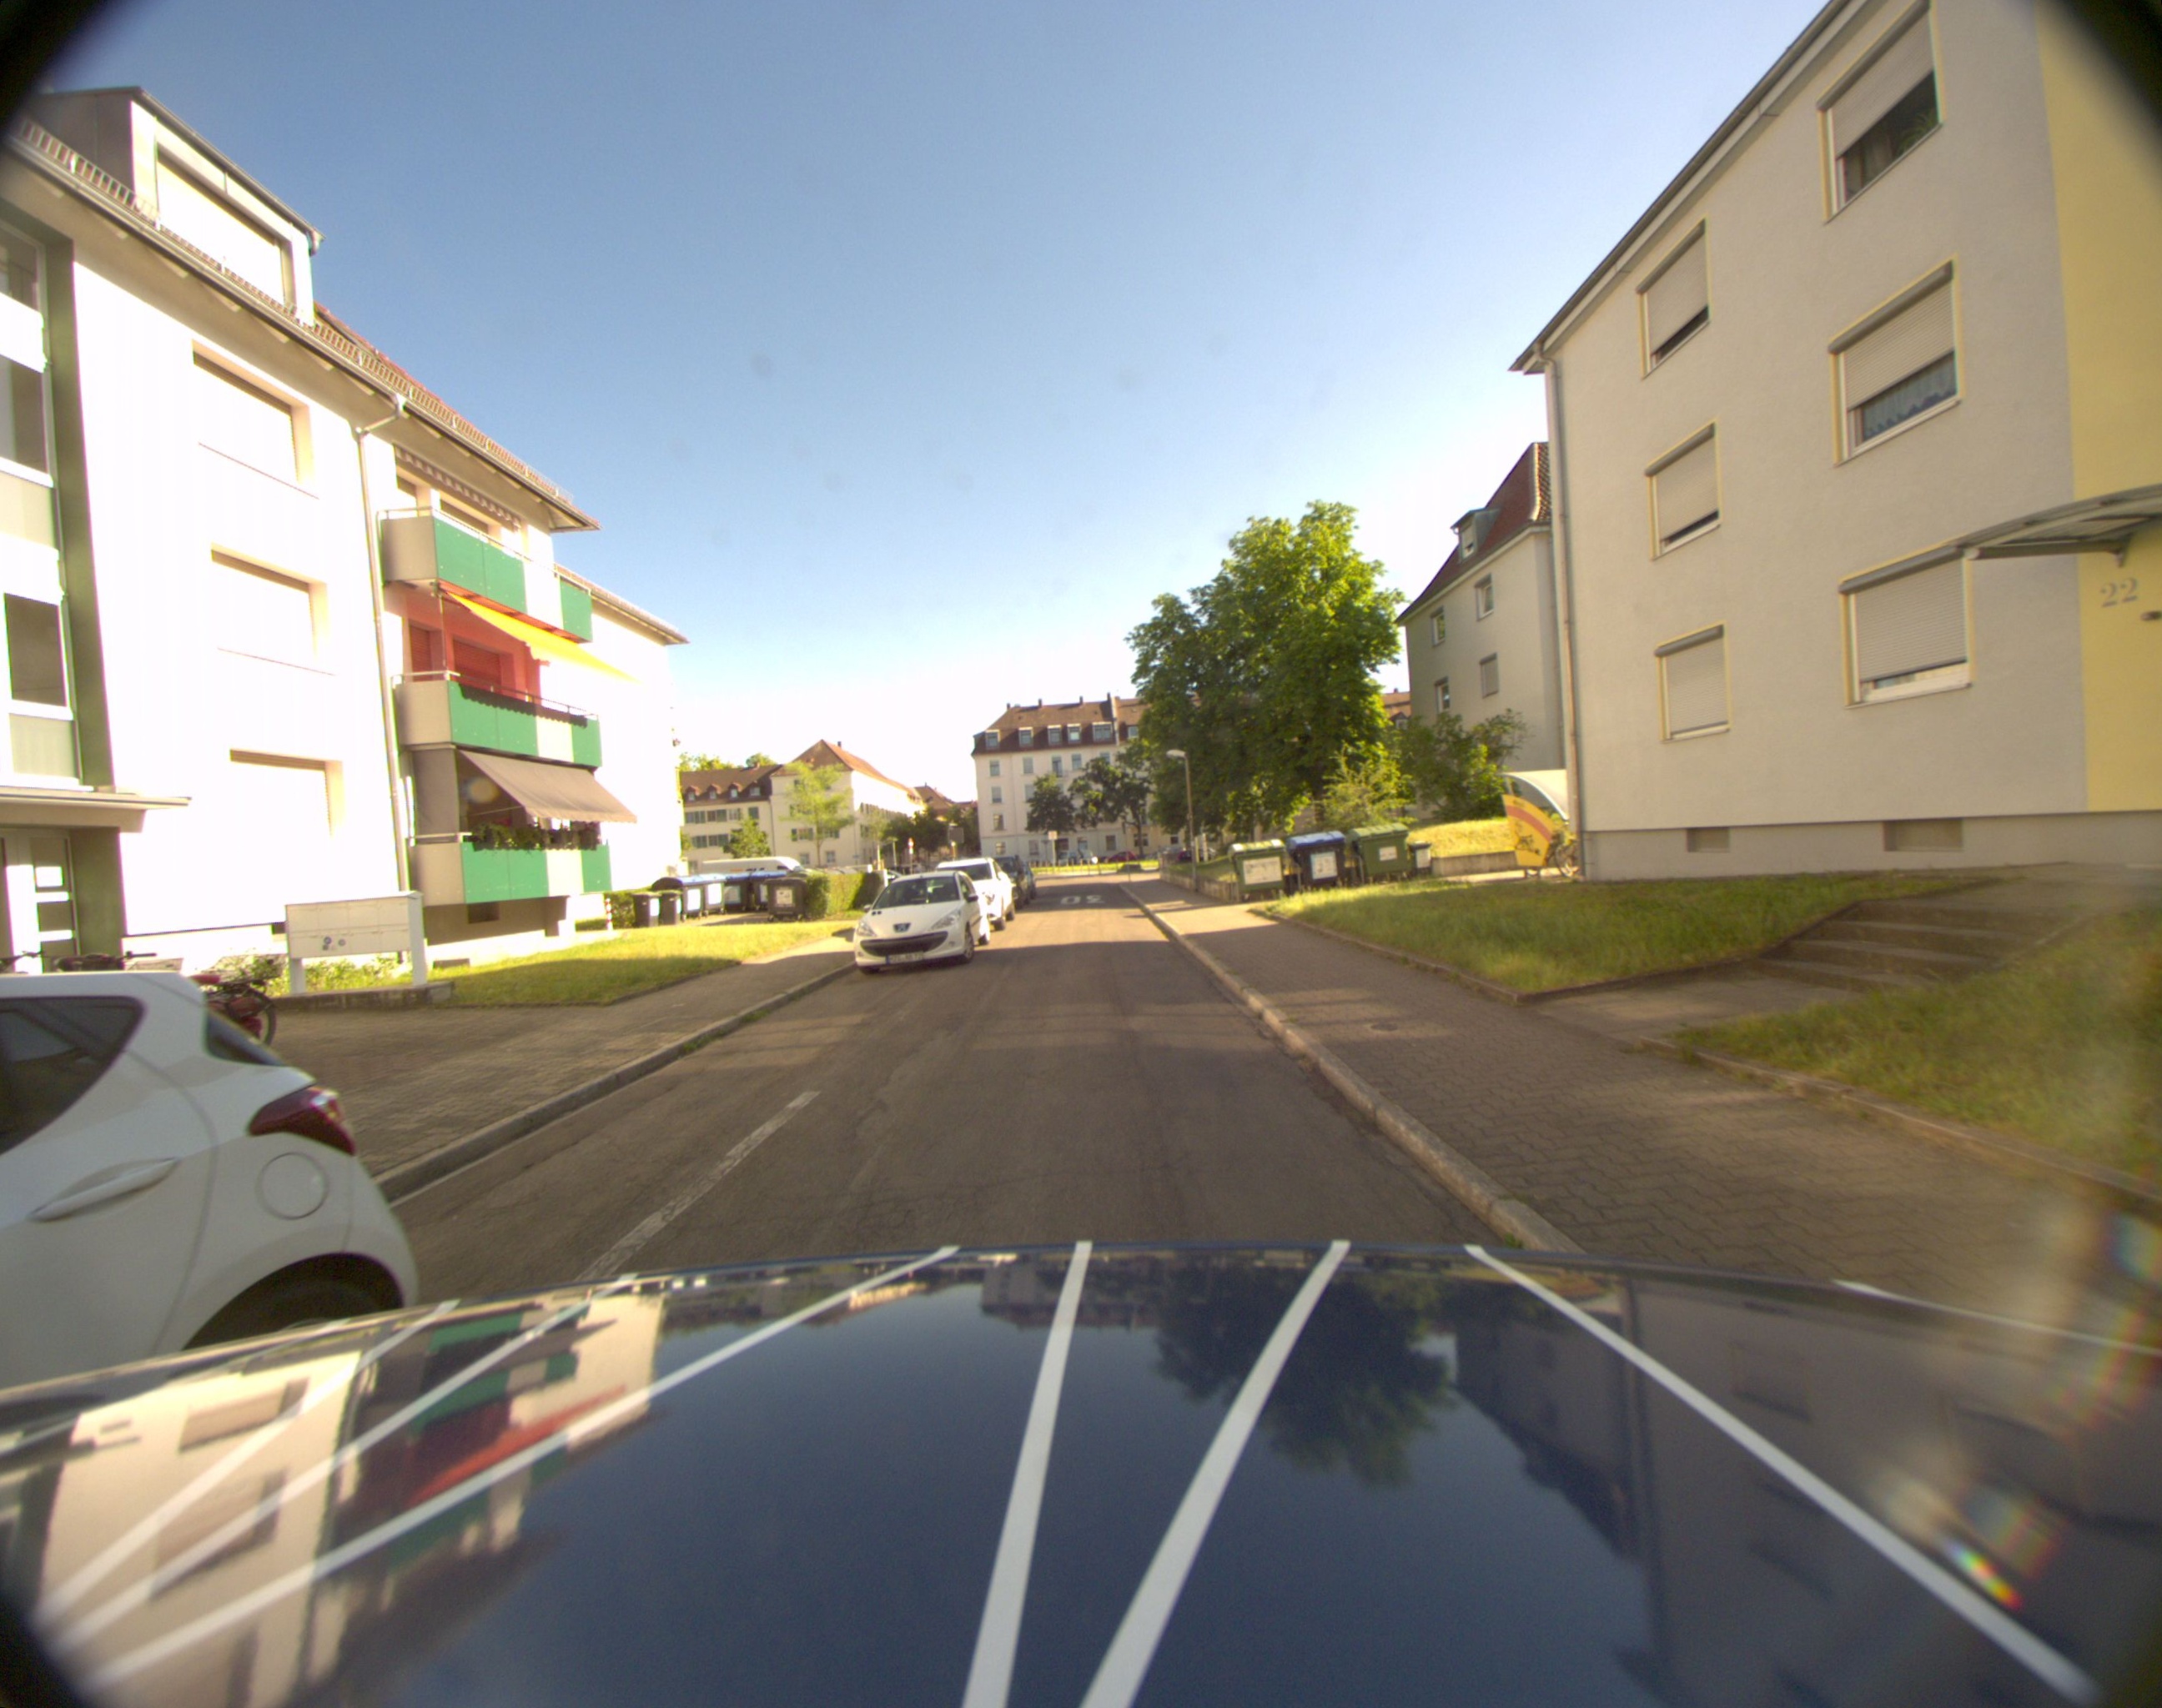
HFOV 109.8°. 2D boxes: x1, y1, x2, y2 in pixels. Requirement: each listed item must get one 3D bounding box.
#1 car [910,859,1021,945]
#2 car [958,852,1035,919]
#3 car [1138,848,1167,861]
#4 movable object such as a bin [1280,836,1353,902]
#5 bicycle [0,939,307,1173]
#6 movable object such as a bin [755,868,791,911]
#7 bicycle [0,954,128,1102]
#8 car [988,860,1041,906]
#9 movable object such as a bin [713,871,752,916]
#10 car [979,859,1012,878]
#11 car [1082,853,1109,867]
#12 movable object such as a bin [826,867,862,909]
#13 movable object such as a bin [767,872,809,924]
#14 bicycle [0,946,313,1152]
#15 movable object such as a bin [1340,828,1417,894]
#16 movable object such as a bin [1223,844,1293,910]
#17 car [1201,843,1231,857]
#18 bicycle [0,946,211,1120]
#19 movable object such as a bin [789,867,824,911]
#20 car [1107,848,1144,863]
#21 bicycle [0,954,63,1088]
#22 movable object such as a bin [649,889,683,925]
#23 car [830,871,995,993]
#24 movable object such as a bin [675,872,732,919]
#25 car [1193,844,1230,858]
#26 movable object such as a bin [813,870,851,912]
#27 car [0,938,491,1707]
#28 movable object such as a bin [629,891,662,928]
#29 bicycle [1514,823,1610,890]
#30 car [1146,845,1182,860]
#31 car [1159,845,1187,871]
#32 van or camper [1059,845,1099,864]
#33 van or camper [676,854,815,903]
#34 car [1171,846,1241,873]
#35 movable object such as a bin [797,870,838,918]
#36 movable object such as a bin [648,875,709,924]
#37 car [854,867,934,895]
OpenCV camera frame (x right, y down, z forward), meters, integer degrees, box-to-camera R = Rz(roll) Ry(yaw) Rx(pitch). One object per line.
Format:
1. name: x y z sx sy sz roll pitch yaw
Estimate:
1. car: -2.572 1.009 18.029 1.805 1.583 4.581 -5 0 0
2. car: -2.676 0.952 24.997 1.855 1.790 4.253 -7 0 0
3. car: 8.426 0.042 89.992 3.192 1.311 1.545 -3 1 0
4. movable object such as a bin: 5.913 0.358 19.151 1.358 1.451 1.082 -8 1 1
5. bicycle: -6.563 1.278 5.188 0.546 1.163 1.873 -2 1 2
6. movable object such as a bin: -10.774 1.230 26.627 0.866 1.439 0.922 -3 1 -3
7. bicycle: -8.937 1.449 5.962 0.539 1.076 1.872 -1 0 0
8. car: -2.611 1.114 30.621 1.728 1.528 3.951 -6 0 -1
9. movable object such as a bin: -12.258 1.385 26.763 0.866 1.511 0.922 -3 1 -1
10. car: -6.957 1.155 61.505 1.674 1.433 3.794 -3 0 -22
11. car: 1.716 0.669 89.952 3.192 1.499 1.545 -3 1 0
12. movable object such as a bin: -8.273 1.180 26.560 0.921 1.390 0.866 -3 1 -1
13. movable object such as a bin: -8.739 1.300 22.684 0.866 1.439 0.922 -3 1 -3
14. bicycle: -7.265 1.408 5.942 0.579 1.126 1.872 -2 0 0
15. movable object such as a bin: 7.484 0.169 19.161 1.363 1.445 1.073 -8 1 1
16. movable object such as a bin: 4.420 0.558 19.097 1.318 1.451 1.198 -7 1 1
17. car: 15.953 -0.459 90.083 3.192 1.499 1.545 -3 1 0
18. bicycle: -8.220 1.404 5.983 0.545 1.114 1.872 -2 0 0
19. movable object such as a bin: -9.661 1.219 26.770 0.866 1.439 0.922 -3 1 -3
20. car: 4.933 0.196 84.399 3.996 1.477 1.722 -3 1 2
21. bicycle: -9.663 1.484 6.027 0.598 1.109 1.872 -3 0 0
22. movable object such as a bin: -12.579 1.607 23.059 0.718 1.047 0.580 0 1 -2
23. car: -2.548 1.125 12.523 1.695 1.410 4.097 -6 0 0
24. movable object such as a bin: -12.706 1.387 25.611 1.239 1.439 1.278 -3 1 -2
25. car: 14.484 -0.333 84.315 3.787 1.437 1.625 -3 1 2
26. movable object such as a bin: -8.286 1.214 25.333 0.921 1.318 0.866 -3 1 -1
27. car: -2.823 1.117 0.495 1.717 1.501 3.853 -6 0 0
28. movable object such as a bin: -12.806 1.621 22.346 0.628 1.047 0.580 0 1 -2
29. bicycle: 9.816 0.035 15.603 0.641 1.243 2.009 -4 0 1
30. car: 9.223 -0.175 84.331 3.787 1.437 1.625 -3 1 2
31. car: 6.277 0.253 52.205 1.678 1.645 3.305 -3 0 5
32. van or camper: -0.243 0.030 84.764 4.355 1.852 2.000 -3 1 -1
33. van or camper: -19.239 1.379 43.750 6.980 2.486 2.177 -3 1 2
34. car: 8.021 0.348 49.034 4.140 1.488 1.729 -3 1 0
35. movable object such as a bin: -8.334 1.263 24.091 0.921 1.439 0.866 -3 1 -1
36. movable object such as a bin: -12.793 1.432 24.203 1.239 1.439 1.278 -3 1 -2
37. car: -10.616 1.510 43.255 3.996 1.342 1.802 -2 1 2
